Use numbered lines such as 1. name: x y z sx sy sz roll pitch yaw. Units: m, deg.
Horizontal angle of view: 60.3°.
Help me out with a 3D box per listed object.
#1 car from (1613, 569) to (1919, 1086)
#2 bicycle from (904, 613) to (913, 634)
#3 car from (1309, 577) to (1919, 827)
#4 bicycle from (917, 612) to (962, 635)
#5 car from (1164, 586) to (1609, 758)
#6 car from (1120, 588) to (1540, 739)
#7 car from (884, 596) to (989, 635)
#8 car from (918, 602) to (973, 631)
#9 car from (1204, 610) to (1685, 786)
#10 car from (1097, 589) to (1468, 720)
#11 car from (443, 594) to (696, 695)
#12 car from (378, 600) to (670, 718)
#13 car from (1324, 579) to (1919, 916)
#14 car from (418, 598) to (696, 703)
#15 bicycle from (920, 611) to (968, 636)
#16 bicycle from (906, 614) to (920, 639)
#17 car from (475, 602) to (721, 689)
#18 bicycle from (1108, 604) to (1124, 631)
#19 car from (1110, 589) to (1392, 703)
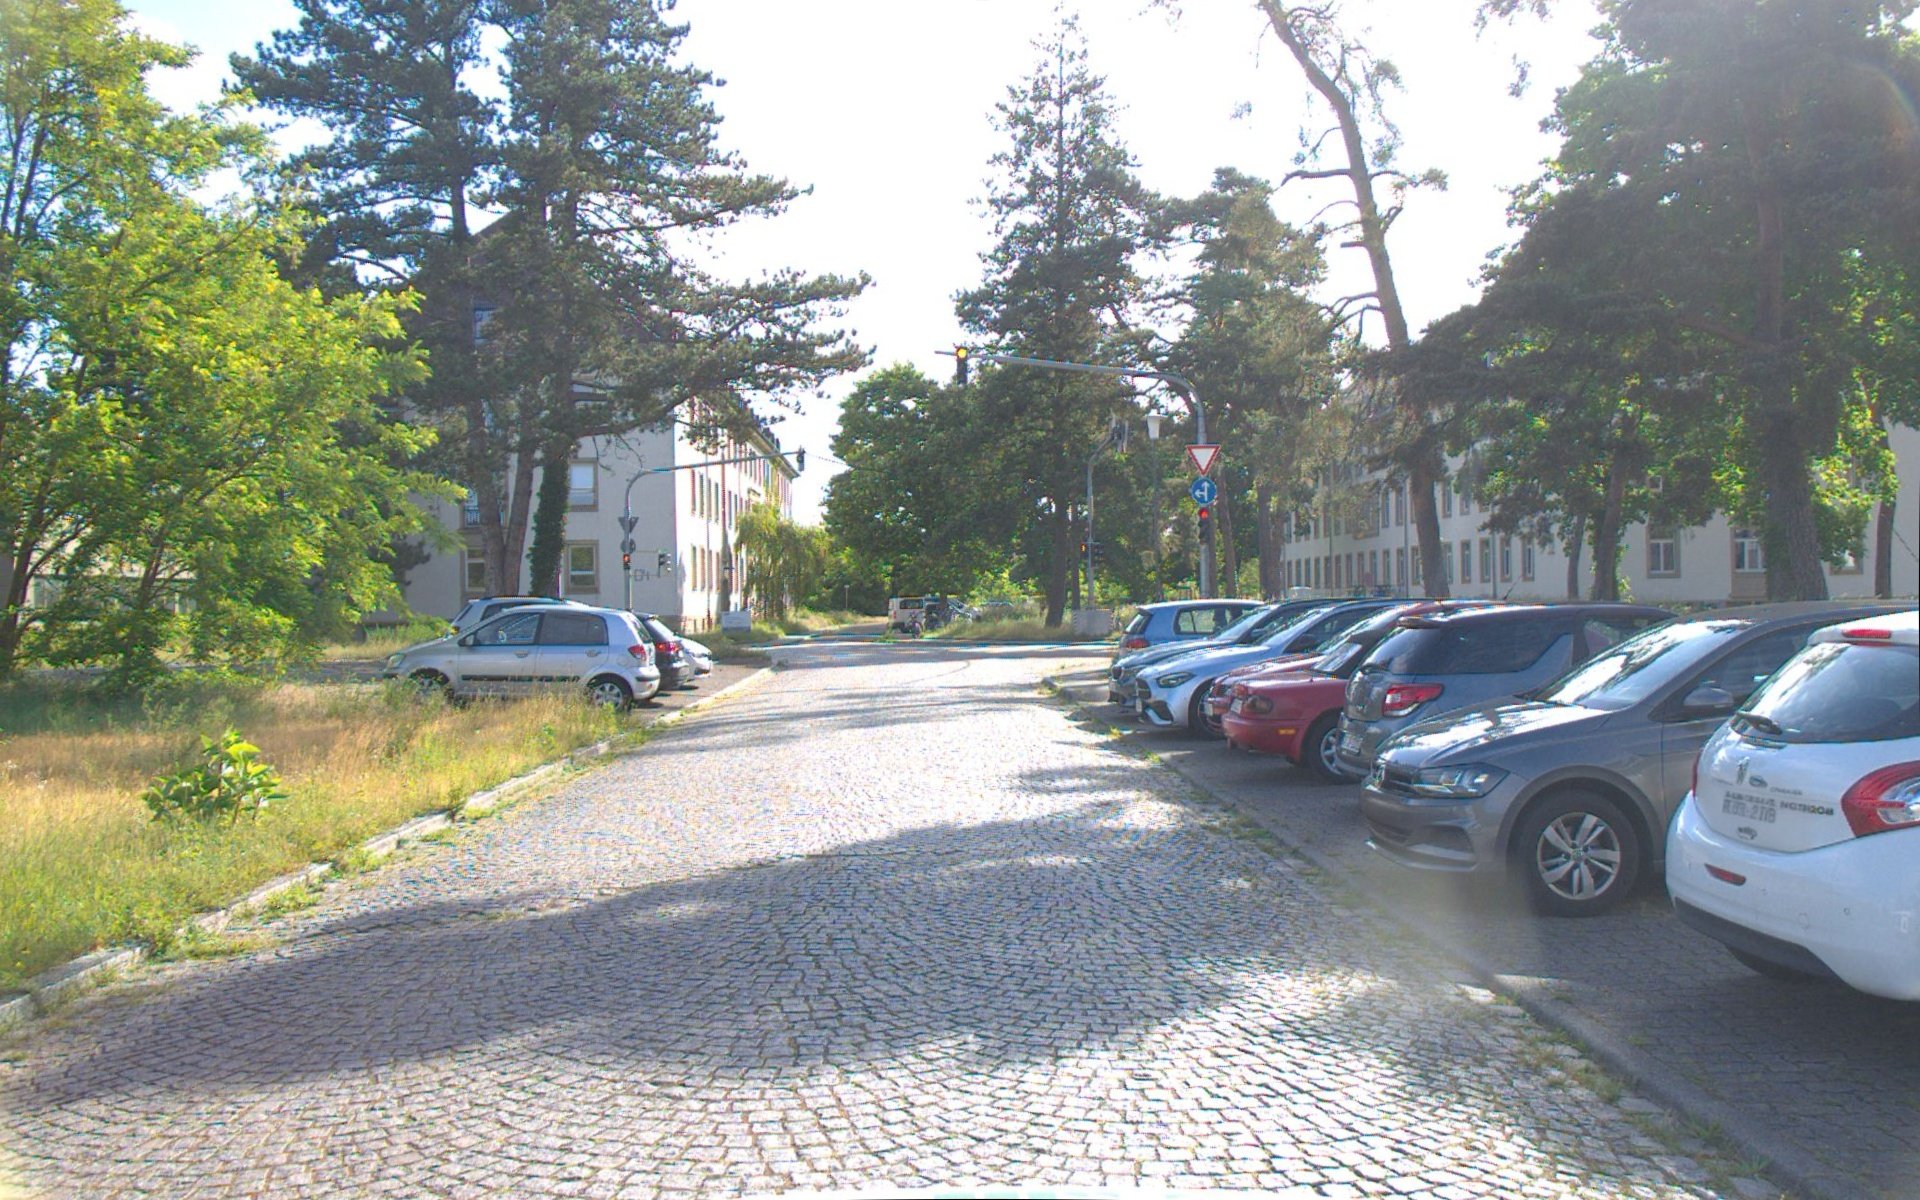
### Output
1. car: 4.567 0.633 6.030 3.632 1.561 1.761 -3 0 -1
2. bicycle: -2.583 1.167 82.699 0.409 1.028 1.483 1 -1 -1
3. car: 4.532 0.663 11.804 3.632 1.474 1.816 -3 0 -2
4. bicycle: -0.914 1.062 74.809 1.967 1.028 0.630 1 -1 -9
5. car: 4.226 0.687 16.797 4.044 1.474 1.636 -3 0 -1
6. car: 4.113 0.685 18.876 4.342 1.440 1.780 -3 0 -1
7. car: -1.300 0.865 91.192 5.439 2.049 1.988 1 -1 -20
8. car: -0.781 0.880 87.579 2.728 1.492 1.669 1 -1 -6
9. car: 4.095 0.806 14.392 3.632 1.244 1.746 -3 0 -1
10. car: 4.124 0.675 21.593 4.467 1.440 1.636 -3 0 -1
11. car: -6.687 0.745 28.687 4.000 1.621 1.883 1 0 -5
12. car: -6.004 0.803 23.114 3.673 1.513 1.644 1 0 -5
13. car: 4.015 0.697 8.920 3.632 1.474 1.856 -3 0 -1
14. car: -6.182 0.760 25.741 3.909 1.506 1.801 1 0 -5
15. bicycle: -0.703 1.043 73.102 2.070 1.028 0.619 1 -1 -9
16. bicycle: -1.978 1.099 69.484 0.458 1.028 1.584 1 -1 -5
17. car: -6.696 0.832 31.000 4.248 1.494 1.829 1 0 -5
18. bicycle: 5.759 0.644 61.202 0.295 0.977 1.584 1 -1 -5
19. car: 4.225 0.648 24.376 3.804 1.440 1.636 -3 0 -1
